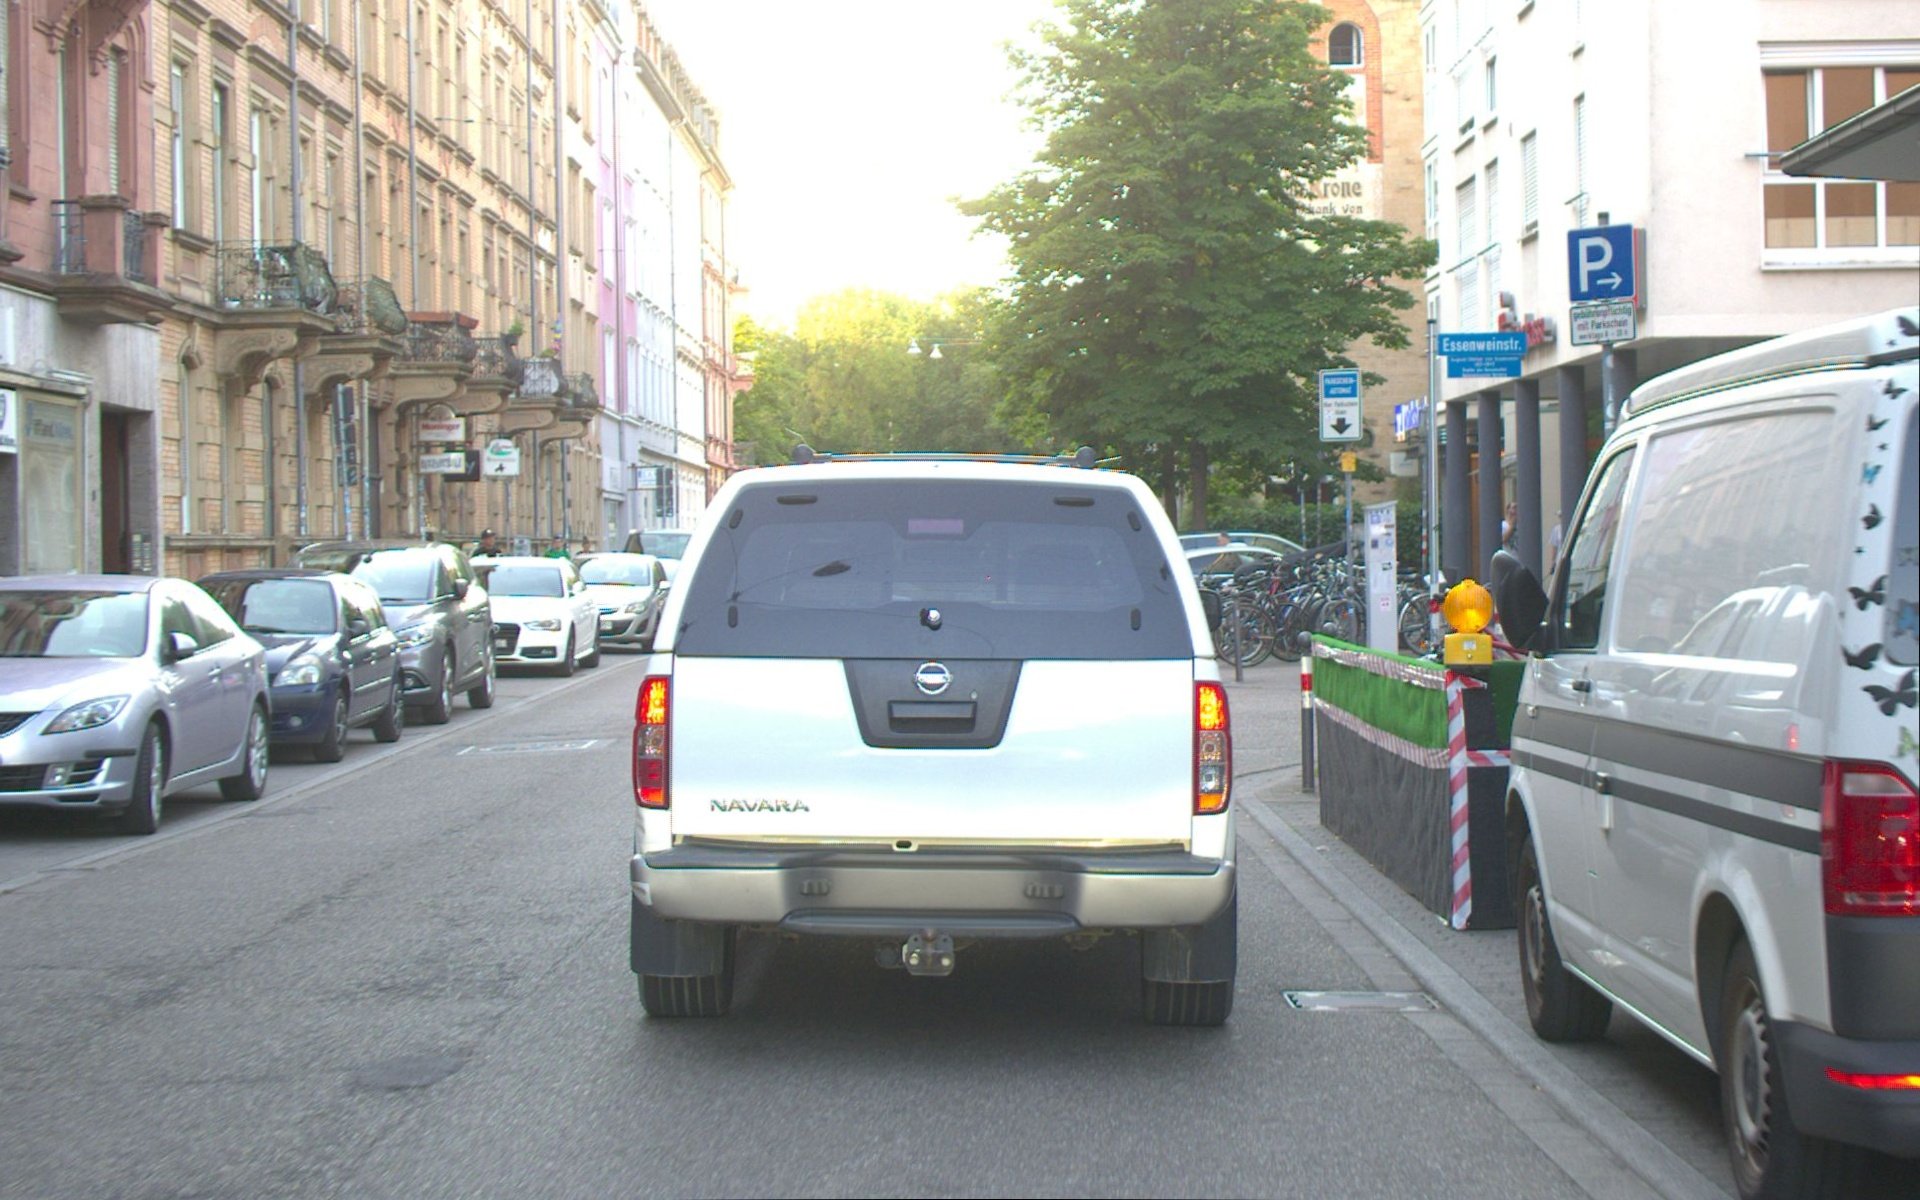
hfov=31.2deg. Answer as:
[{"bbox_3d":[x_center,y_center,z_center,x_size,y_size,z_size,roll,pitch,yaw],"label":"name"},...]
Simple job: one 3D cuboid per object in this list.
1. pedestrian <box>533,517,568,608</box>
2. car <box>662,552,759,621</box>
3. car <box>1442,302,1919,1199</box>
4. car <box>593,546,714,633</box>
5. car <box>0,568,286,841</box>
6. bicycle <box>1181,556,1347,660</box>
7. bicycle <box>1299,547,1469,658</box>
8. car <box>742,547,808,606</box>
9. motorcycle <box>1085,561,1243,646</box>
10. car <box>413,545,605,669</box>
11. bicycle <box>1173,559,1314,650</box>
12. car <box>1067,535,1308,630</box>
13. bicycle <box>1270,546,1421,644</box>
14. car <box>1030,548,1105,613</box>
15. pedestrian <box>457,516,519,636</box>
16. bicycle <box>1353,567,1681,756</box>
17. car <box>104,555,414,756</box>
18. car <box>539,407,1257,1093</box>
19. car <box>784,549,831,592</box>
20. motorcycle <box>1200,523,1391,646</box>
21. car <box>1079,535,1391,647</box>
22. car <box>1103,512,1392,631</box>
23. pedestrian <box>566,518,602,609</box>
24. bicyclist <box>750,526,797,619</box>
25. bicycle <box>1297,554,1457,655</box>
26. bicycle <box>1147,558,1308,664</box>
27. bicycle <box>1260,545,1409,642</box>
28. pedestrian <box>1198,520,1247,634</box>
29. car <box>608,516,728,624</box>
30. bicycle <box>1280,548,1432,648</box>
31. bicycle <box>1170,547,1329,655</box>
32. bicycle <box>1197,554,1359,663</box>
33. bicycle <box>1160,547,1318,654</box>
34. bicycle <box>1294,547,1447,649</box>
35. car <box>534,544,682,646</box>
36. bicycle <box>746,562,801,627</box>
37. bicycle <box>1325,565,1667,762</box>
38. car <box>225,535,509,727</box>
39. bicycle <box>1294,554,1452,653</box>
[{"bbox_3d":[-8.109,-0.742,68.136,0.580,1.765,0.998,2,2,-4],"label":"pedestrian"},{"bbox_3d":[-5.338,-0.299,74.036,1.736,1.413,4.779,1,0,0],"label":"car"},{"bbox_3d":[2.591,0.340,8.874,1.959,1.967,5.003,-3,1,1],"label":"car"},{"bbox_3d":[-5.289,-0.204,59.744,1.783,1.418,4.486,1,1,-2],"label":"car"},{"bbox_3d":[-5.311,0.528,20.358,1.722,1.416,4.582,0,1,0],"label":"car"},{"bbox_3d":[3.536,0.091,40.033,1.809,1.114,0.707,-3,0,-1],"label":"bicycle"},{"bbox_3d":[4.676,0.023,37.943,1.722,1.128,0.579,-3,0,-11],"label":"bicycle"},{"bbox_3d":[-5.327,-0.688,99.255,1.844,1.653,4.253,-1,1,-3],"label":"car"},{"bbox_3d":[2.852,0.046,48.099,2.057,1.074,0.664,-3,0,-15],"label":"motorcycle"},{"bbox_3d":[-5.483,0.050,42.264,1.758,1.407,4.509,0,1,0],"label":"car"},{"bbox_3d":[3.653,0.060,44.407,1.719,1.028,0.667,-5,0,3],"label":"bicycle"},{"bbox_3d":[3.941,-0.318,60.122,3.987,1.451,1.828,-3,1,-2],"label":"car"},{"bbox_3d":[4.750,-0.065,42.450,1.722,1.114,0.654,-3,0,-2],"label":"bicycle"},{"bbox_3d":[2.627,-0.510,84.885,1.676,1.424,4.478,-5,1,1],"label":"car"},{"bbox_3d":[-6.946,-0.345,50.592,0.554,1.749,1.021,0,0,15],"label":"pedestrian"},{"bbox_3d":[3.553,0.402,22.018,1.943,1.131,0.656,-3,0,38],"label":"bicycle"},{"bbox_3d":[-5.359,0.374,26.689,1.585,1.416,3.696,0,1,1],"label":"car"},{"bbox_3d":[0.046,0.385,12.047,1.911,1.847,5.269,1,0,5],"label":"car"},{"bbox_3d":[-5.619,-1.097,127.091,1.698,1.547,4.022,1,1,-2],"label":"car"},{"bbox_3d":[4.591,-0.211,47.172,2.492,1.544,0.824,-3,0,3],"label":"motorcycle"},{"bbox_3d":[4.145,-0.145,52.187,4.422,1.450,1.780,-3,1,-5],"label":"car"},{"bbox_3d":[4.565,-0.462,54.943,4.398,1.642,1.746,-3,1,0],"label":"car"},{"bbox_3d":[-7.462,-0.726,68.222,0.605,1.766,0.777,2,1,-4],"label":"pedestrian"},{"bbox_3d":[-3.325,-0.497,61.317,0.645,1.615,0.918,-2,1,5],"label":"bicyclist"},{"bbox_3d":[4.717,0.052,38.969,1.722,1.050,0.653,-3,0,4],"label":"bicycle"},{"bbox_3d":[3.043,0.125,39.249,1.722,1.114,0.707,-3,0,-1],"label":"bicycle"},{"bbox_3d":[4.699,-0.083,43.172,1.722,1.114,0.654,-3,0,-2],"label":"bicycle"},{"bbox_3d":[4.064,-0.357,53.252,0.625,1.747,0.588,0,0,-11],"label":"pedestrian"},{"bbox_3d":[-5.465,-0.584,64.880,1.993,1.917,4.952,1,1,-2],"label":"car"},{"bbox_3d":[4.757,-0.029,41.368,1.722,1.114,0.653,-3,0,4],"label":"bicycle"},{"bbox_3d":[3.561,0.006,42.195,1.789,1.178,0.733,-5,0,11],"label":"bicycle"},{"bbox_3d":[3.542,0.092,38.382,1.722,1.114,0.707,-3,0,4],"label":"bicycle"},{"bbox_3d":[3.496,0.009,43.038,1.869,1.178,0.743,-5,0,5],"label":"bicycle"},{"bbox_3d":[4.861,-0.024,40.797,1.722,1.114,0.653,-3,0,4],"label":"bicycle"},{"bbox_3d":[-5.278,-0.107,51.946,1.717,1.452,4.000,1,1,1],"label":"car"},{"bbox_3d":[-3.312,-0.108,61.309,0.645,1.077,2.168,-2,1,5],"label":"bicycle"},{"bbox_3d":[3.270,0.400,21.079,1.943,1.131,0.656,-3,0,38],"label":"bicycle"},{"bbox_3d":[-5.405,0.227,31.877,1.853,1.628,4.446,0,1,0],"label":"car"},{"bbox_3d":[4.755,0.041,39.640,1.722,1.050,0.653,-3,0,4],"label":"bicycle"}]
